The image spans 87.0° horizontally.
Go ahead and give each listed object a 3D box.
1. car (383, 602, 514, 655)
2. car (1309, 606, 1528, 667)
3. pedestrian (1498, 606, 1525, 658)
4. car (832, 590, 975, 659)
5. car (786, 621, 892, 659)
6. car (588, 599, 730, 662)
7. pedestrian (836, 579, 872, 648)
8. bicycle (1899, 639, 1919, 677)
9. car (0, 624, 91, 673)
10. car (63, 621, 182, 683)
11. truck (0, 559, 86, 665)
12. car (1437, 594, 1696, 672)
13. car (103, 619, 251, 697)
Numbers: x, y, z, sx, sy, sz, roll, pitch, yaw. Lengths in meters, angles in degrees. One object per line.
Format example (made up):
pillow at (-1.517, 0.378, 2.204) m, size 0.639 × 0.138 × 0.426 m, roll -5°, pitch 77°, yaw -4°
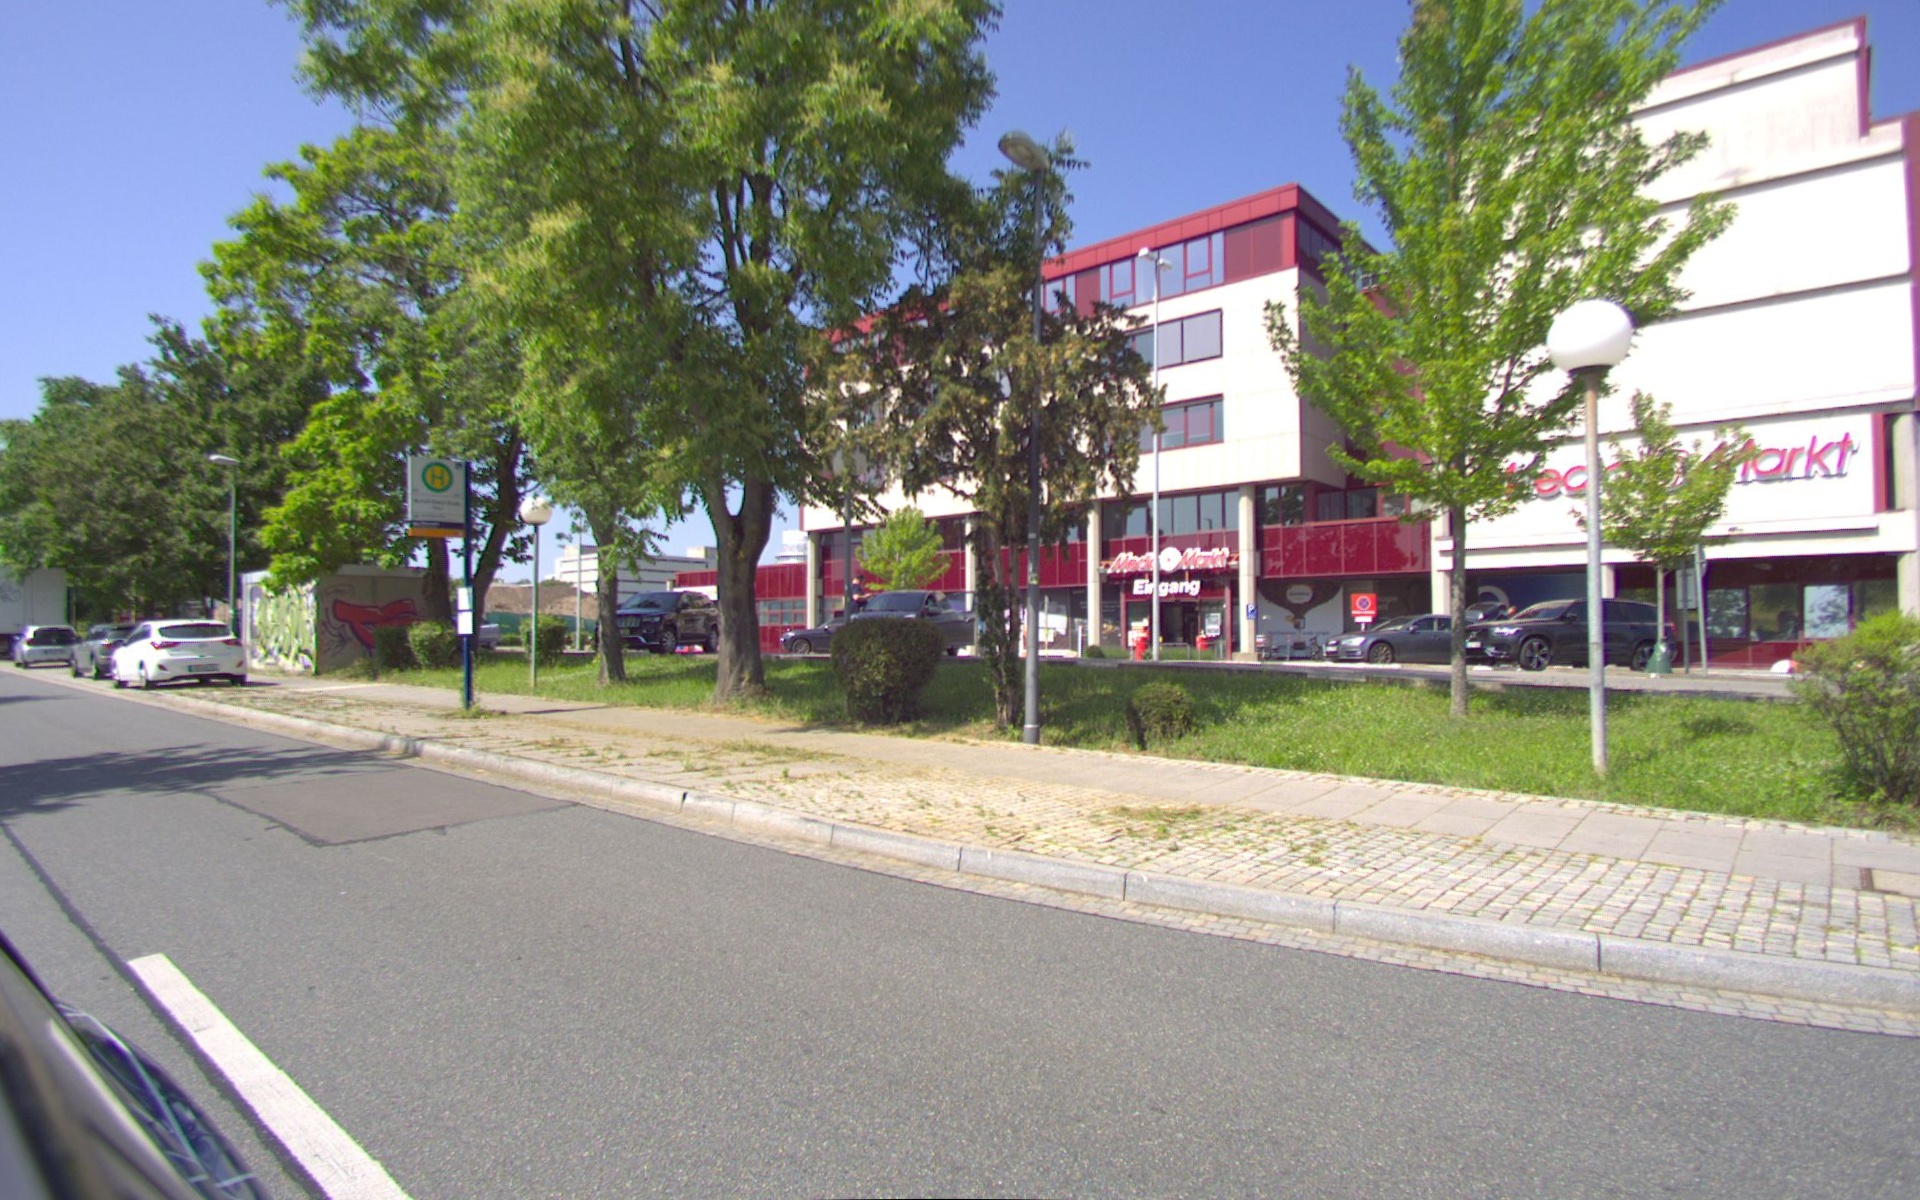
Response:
car at (-19.007, 1.063, 37.866) m, size 1.978 × 1.818 × 4.701 m, roll -2°, pitch -2°, yaw 10°
car at (11.778, 0.947, 26.165) m, size 4.794 × 1.504 × 1.921 m, roll 0°, pitch -2°, yaw -6°
pedestrian at (14.565, 0.845, 26.736) m, size 0.521 × 1.366 × 0.457 m, roll -2°, pitch -2°, yaw 40°
car at (-1.115, 0.495, 21.875) m, size 1.705 × 1.348 × 3.964 m, roll -1°, pitch 0°, yaw 19°
car at (-4.883, 1.629, 41.088) m, size 4.174 × 1.462 × 1.725 m, roll 0°, pitch -2°, yaw -6°
car at (-7.913, 0.764, 27.148) m, size 1.831 × 1.504 × 4.805 m, roll -1°, pitch 0°, yaw 8°
pedestrian at (-2.404, 0.312, 22.953) m, size 0.555 × 1.539 × 0.759 m, roll 0°, pitch -2°, yaw -27°
bicycle at (21.836, 1.274, 22.110) m, size 1.839 × 0.799 × 0.720 m, roll 0°, pitch 0°, yaw 35°
car at (-31.467, 1.635, 34.802) m, size 3.997 × 1.527 × 1.792 m, roll -2°, pitch -1°, yaw 40°
car at (-22.525, 1.357, 27.173) m, size 3.997 × 1.527 × 1.792 m, roll -2°, pitch -1°, yaw 40°
truck at (-40.765, 0.576, 43.743) m, size 9.274 × 4.175 × 3.310 m, roll -2°, pitch -1°, yaw 42°
car at (14.156, 0.829, 23.739) m, size 5.031 × 1.606 × 2.192 m, roll 2°, pitch -4°, yaw -12°
car at (-17.175, 1.207, 22.142) m, size 3.997 × 1.504 × 1.743 m, roll -2°, pitch -1°, yaw 40°
